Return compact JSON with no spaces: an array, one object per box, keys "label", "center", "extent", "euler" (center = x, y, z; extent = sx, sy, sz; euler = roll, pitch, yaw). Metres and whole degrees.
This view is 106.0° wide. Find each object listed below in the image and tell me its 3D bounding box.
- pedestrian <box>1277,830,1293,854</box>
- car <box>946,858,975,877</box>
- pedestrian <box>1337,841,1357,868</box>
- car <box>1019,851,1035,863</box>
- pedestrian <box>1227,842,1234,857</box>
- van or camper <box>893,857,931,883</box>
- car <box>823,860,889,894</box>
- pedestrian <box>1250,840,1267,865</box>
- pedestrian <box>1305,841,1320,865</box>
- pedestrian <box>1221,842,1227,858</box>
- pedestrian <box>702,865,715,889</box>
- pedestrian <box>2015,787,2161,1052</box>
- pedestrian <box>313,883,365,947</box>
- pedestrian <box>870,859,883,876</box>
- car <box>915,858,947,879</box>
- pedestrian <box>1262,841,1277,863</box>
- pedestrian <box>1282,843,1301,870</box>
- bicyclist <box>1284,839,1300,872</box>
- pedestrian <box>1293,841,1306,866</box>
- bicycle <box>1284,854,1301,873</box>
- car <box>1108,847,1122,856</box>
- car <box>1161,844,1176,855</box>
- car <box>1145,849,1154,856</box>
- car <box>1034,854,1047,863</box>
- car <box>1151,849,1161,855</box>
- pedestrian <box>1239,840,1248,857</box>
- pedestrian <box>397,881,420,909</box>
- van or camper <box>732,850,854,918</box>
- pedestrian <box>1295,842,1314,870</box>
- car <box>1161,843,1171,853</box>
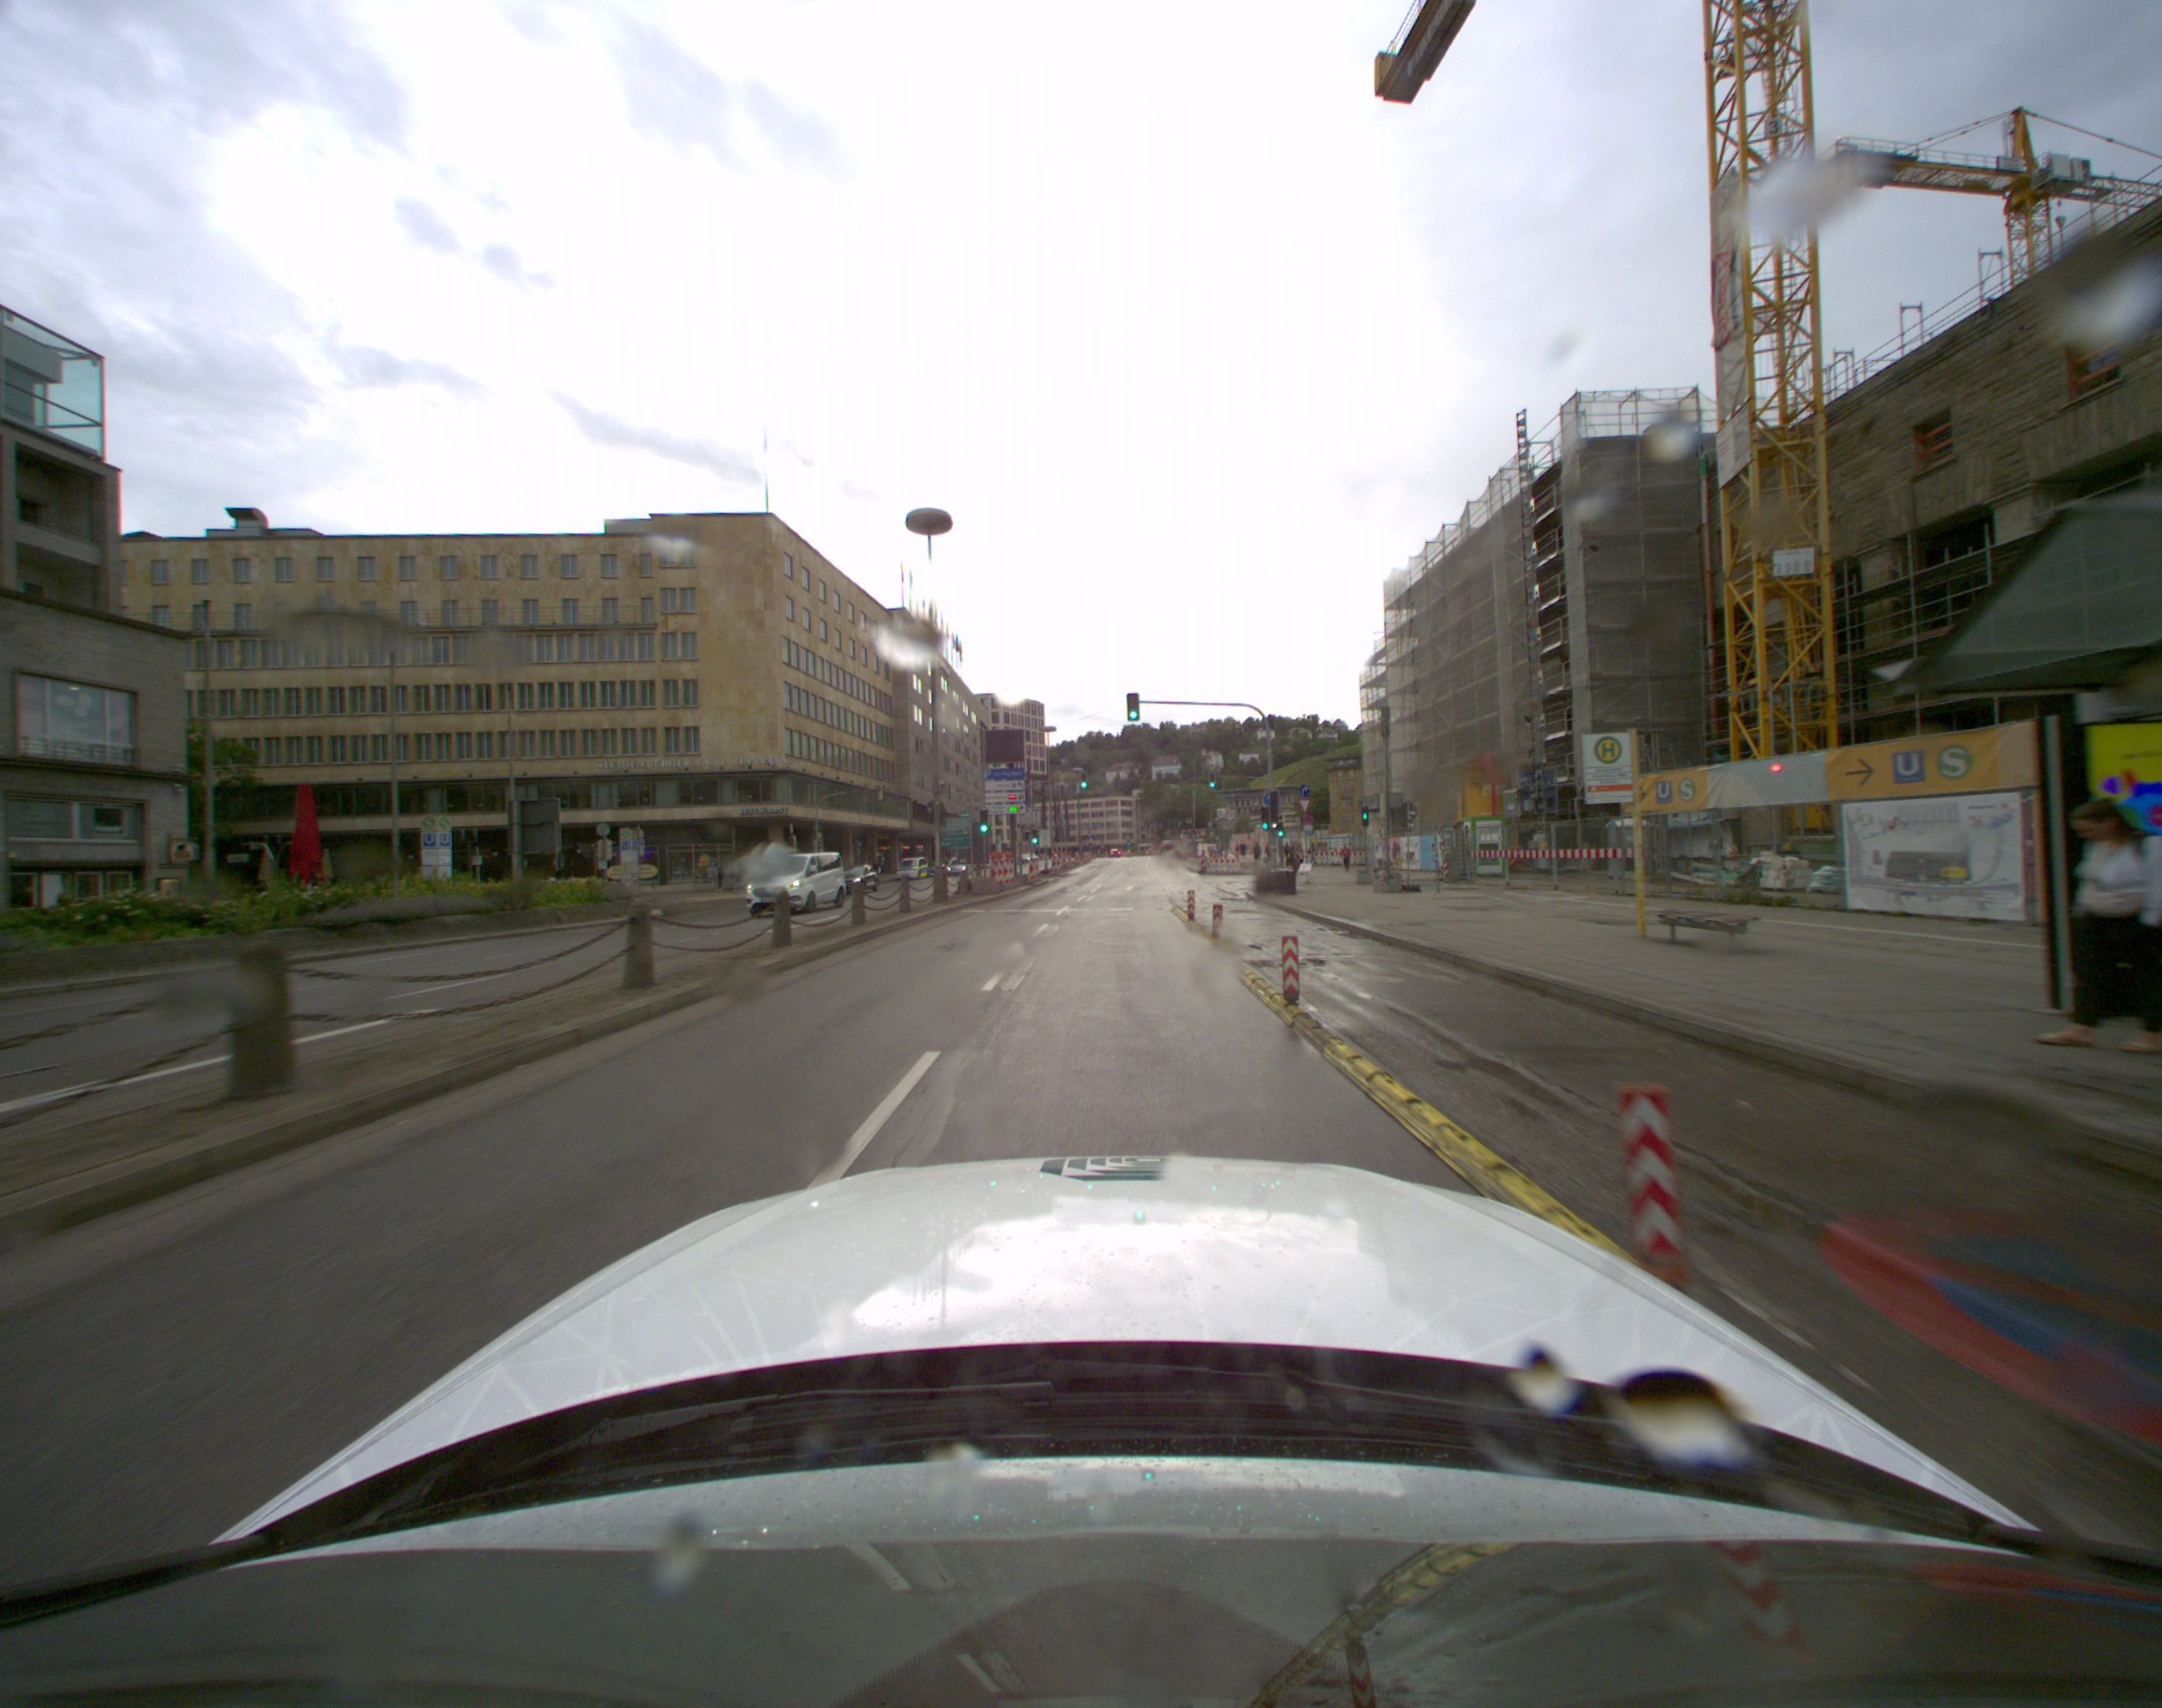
[{"label":"pedestrian","center":[16.368,-0.973,65.368],"extent":[0.955,1.841,0.856],"euler":[-2,-1,-45]},{"label":"car","center":[-11.117,1.258,75.116],"extent":[1.761,1.609,4.229],"euler":[-3,0,3]},{"label":"pedestrian","center":[16.328,0.040,49.997],"extent":[0.768,1.608,0.860],"euler":[-3,0,-12]},{"label":"car","center":[-8.365,0.413,126.739],"extent":[1.985,1.750,4.004],"euler":[-3,0,3]},{"label":"pedestrian","center":[18.648,-0.567,101.531],"extent":[0.684,1.841,0.616],"euler":[-3,0,8]},{"label":"van or camper","center":[-14.639,1.352,70.804],"extent":[1.986,2.013,4.968],"euler":[-3,0,2]},{"label":"car","center":[-12.240,1.222,44.626],"extent":[1.984,1.617,4.582],"euler":[-3,0,5]},{"label":"pedestrian","center":[13.728,-0.137,62.912],"extent":[0.937,1.841,0.953],"euler":[-3,-1,33]},{"label":"pedestrian","center":[16.915,-0.078,59.415],"extent":[0.860,1.661,0.798],"euler":[-3,0,5]},{"label":"pedestrian","center":[17.872,-0.500,101.597],"extent":[0.684,1.841,0.616],"euler":[-3,0,8]},{"label":"pedestrian","center":[-26.688,1.626,58.310],"extent":[0.697,1.644,0.647],"euler":[-3,0,-16]},{"label":"pedestrian","center":[7.049,0.407,5.539],"extent":[0.705,1.679,0.717],"euler":[-2,0,-26]},{"label":"pedestrian","center":[-21.046,1.710,23.110],"extent":[0.663,1.734,0.795],"euler":[-3,0,7]},{"label":"pedestrian","center":[-18.662,1.234,74.417],"extent":[0.791,1.526,0.917],"euler":[-3,0,4]},{"label":"car","center":[-14.274,1.330,77.486],"extent":[1.985,1.838,4.004],"euler":[-3,0,3]},{"label":"pedestrian","center":[16.184,-0.183,69.948],"extent":[0.943,1.841,0.867],"euler":[-3,0,-1]},{"label":"pedestrian","center":[12.791,0.127,49.485],"extent":[0.787,1.608,0.841],"euler":[-3,0,31]},{"label":"bicyclist","center":[12.145,0.099,46.921],"extent":[0.699,1.845,0.970],"euler":[-2,0,7]},{"label":"pedestrian","center":[16.479,-0.042,61.404],"extent":[0.859,1.841,0.800],"euler":[-3,0,12]},{"label":"bicycle","center":[12.148,0.523,46.777],"extent":[0.703,1.049,1.810],"euler":[-1,1,7]},{"label":"car","center":[6.252,-0.517,150.012],"extent":[1.993,1.552,3.988],"euler":[-3,0,-8]},{"label":"car","center":[13.674,-0.676,127.138],"extent":[1.986,1.706,4.001],"euler":[-3,0,2]},{"label":"car","center":[15.643,-0.337,186.715],"extent":[1.813,1.442,4.002],"euler":[-1,0,2]},{"label":"car","center":[-7.542,0.800,151.357],"extent":[1.985,1.618,4.004],"euler":[-2,0,3]},{"label":"car","center":[18.386,-0.484,199.921],"extent":[1.986,1.442,4.001],"euler":[-1,0,1]},{"label":"pedestrian","center":[18.263,-0.574,91.588],"extent":[0.941,1.841,0.869],"euler":[-3,0,9]},{"label":"pedestrian","center":[-41.763,2.557,50.580],"extent":[0.698,1.672,0.837],"euler":[-3,0,4]},{"label":"van or camper","center":[-9.620,0.935,27.761],"extent":[1.985,2.013,5.194],"euler":[-2,0,3]},{"label":"pedestrian","center":[13.477,0.104,49.068],"extent":[0.787,1.608,0.841],"euler":[-3,0,32]},{"label":"car","center":[16.444,-1.167,158.272],"extent":[1.768,1.639,4.004],"euler":[-3,-1,4]}]
